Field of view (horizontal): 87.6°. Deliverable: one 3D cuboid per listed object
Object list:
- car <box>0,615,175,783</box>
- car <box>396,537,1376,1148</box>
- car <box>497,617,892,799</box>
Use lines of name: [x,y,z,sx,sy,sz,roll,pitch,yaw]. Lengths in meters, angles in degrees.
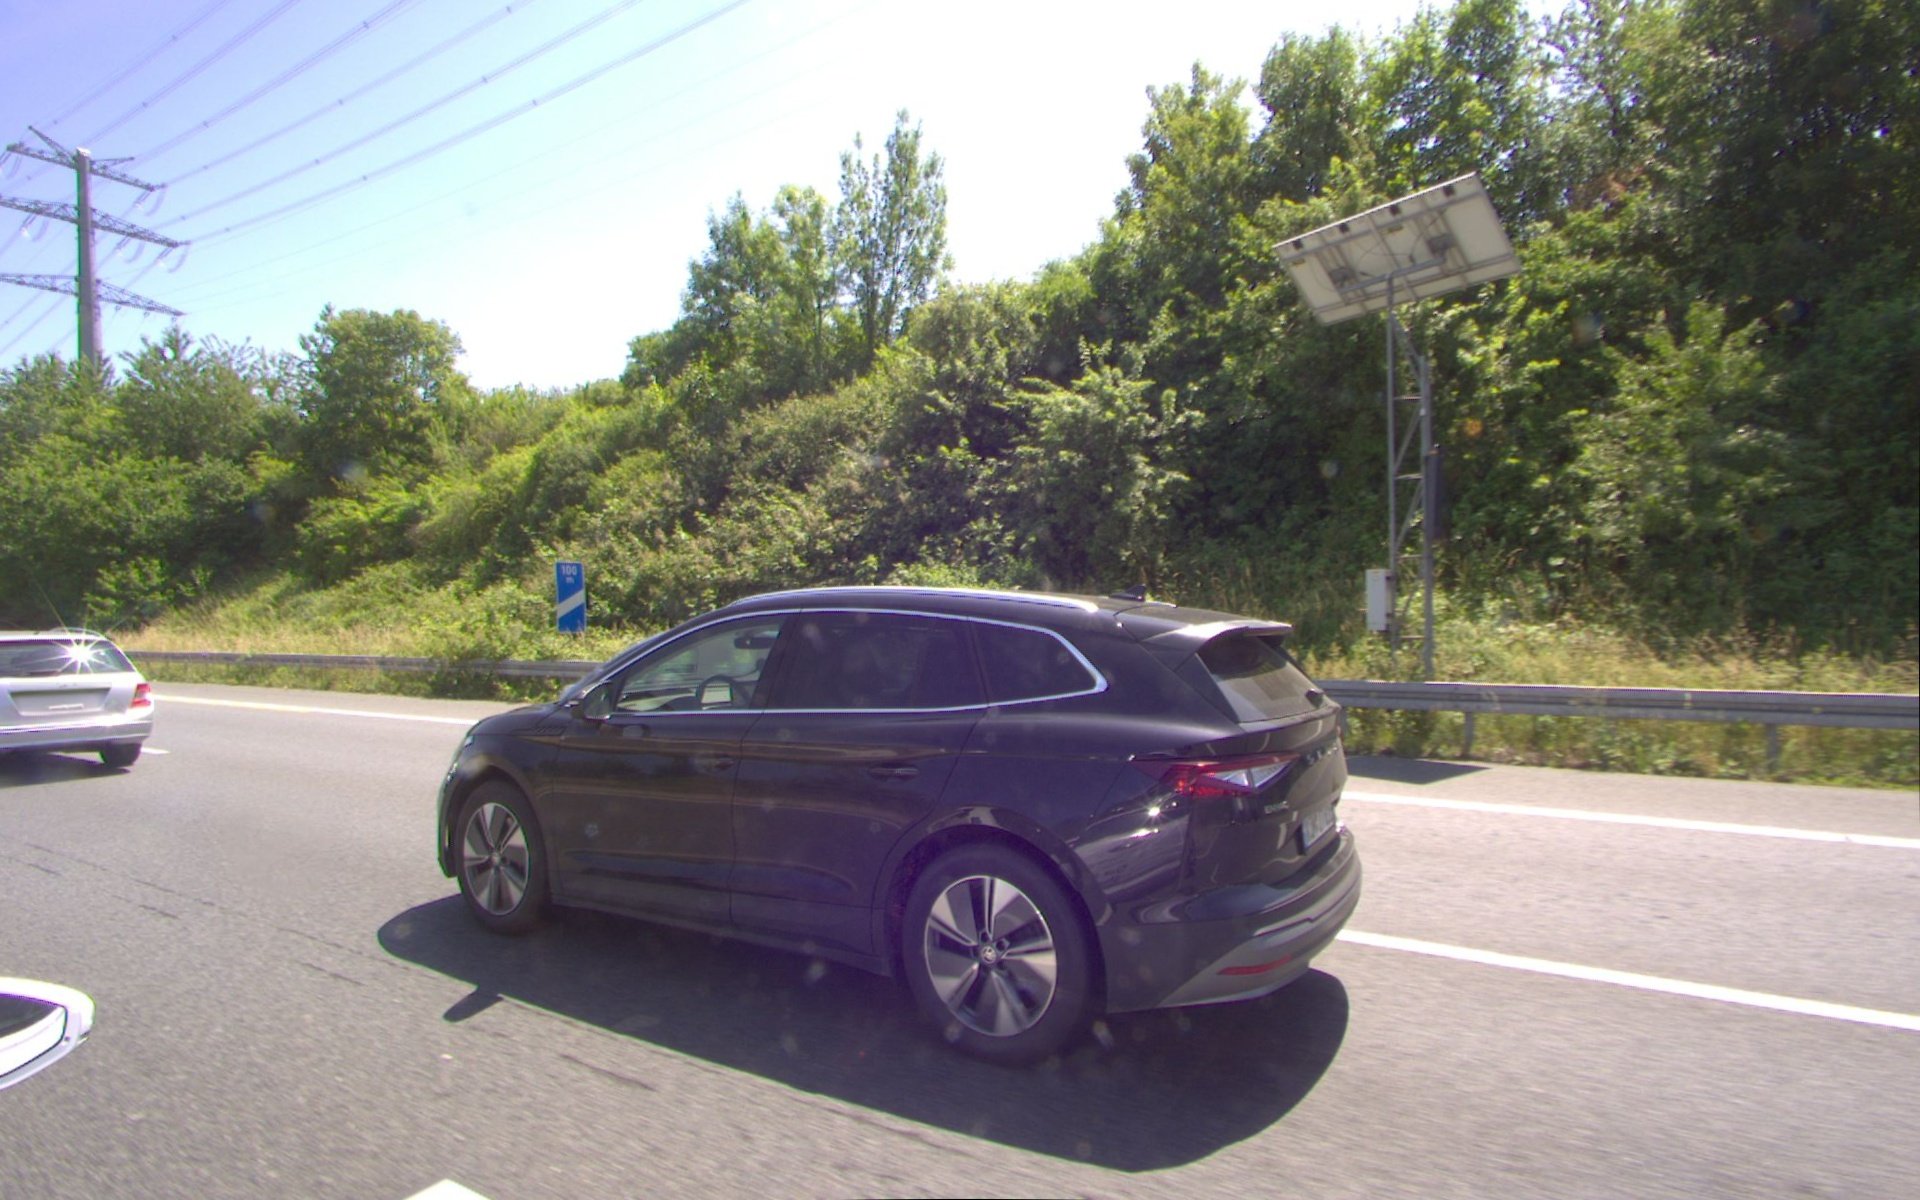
car: [-10.390,0.964,10.699,4.297,1.537,1.768,-1,-2,32]
car: [-0.543,0.730,4.635,4.365,1.676,1.698,-1,-2,31]
car: [-2.665,0.936,9.845,3.734,1.466,1.698,-1,-2,32]
